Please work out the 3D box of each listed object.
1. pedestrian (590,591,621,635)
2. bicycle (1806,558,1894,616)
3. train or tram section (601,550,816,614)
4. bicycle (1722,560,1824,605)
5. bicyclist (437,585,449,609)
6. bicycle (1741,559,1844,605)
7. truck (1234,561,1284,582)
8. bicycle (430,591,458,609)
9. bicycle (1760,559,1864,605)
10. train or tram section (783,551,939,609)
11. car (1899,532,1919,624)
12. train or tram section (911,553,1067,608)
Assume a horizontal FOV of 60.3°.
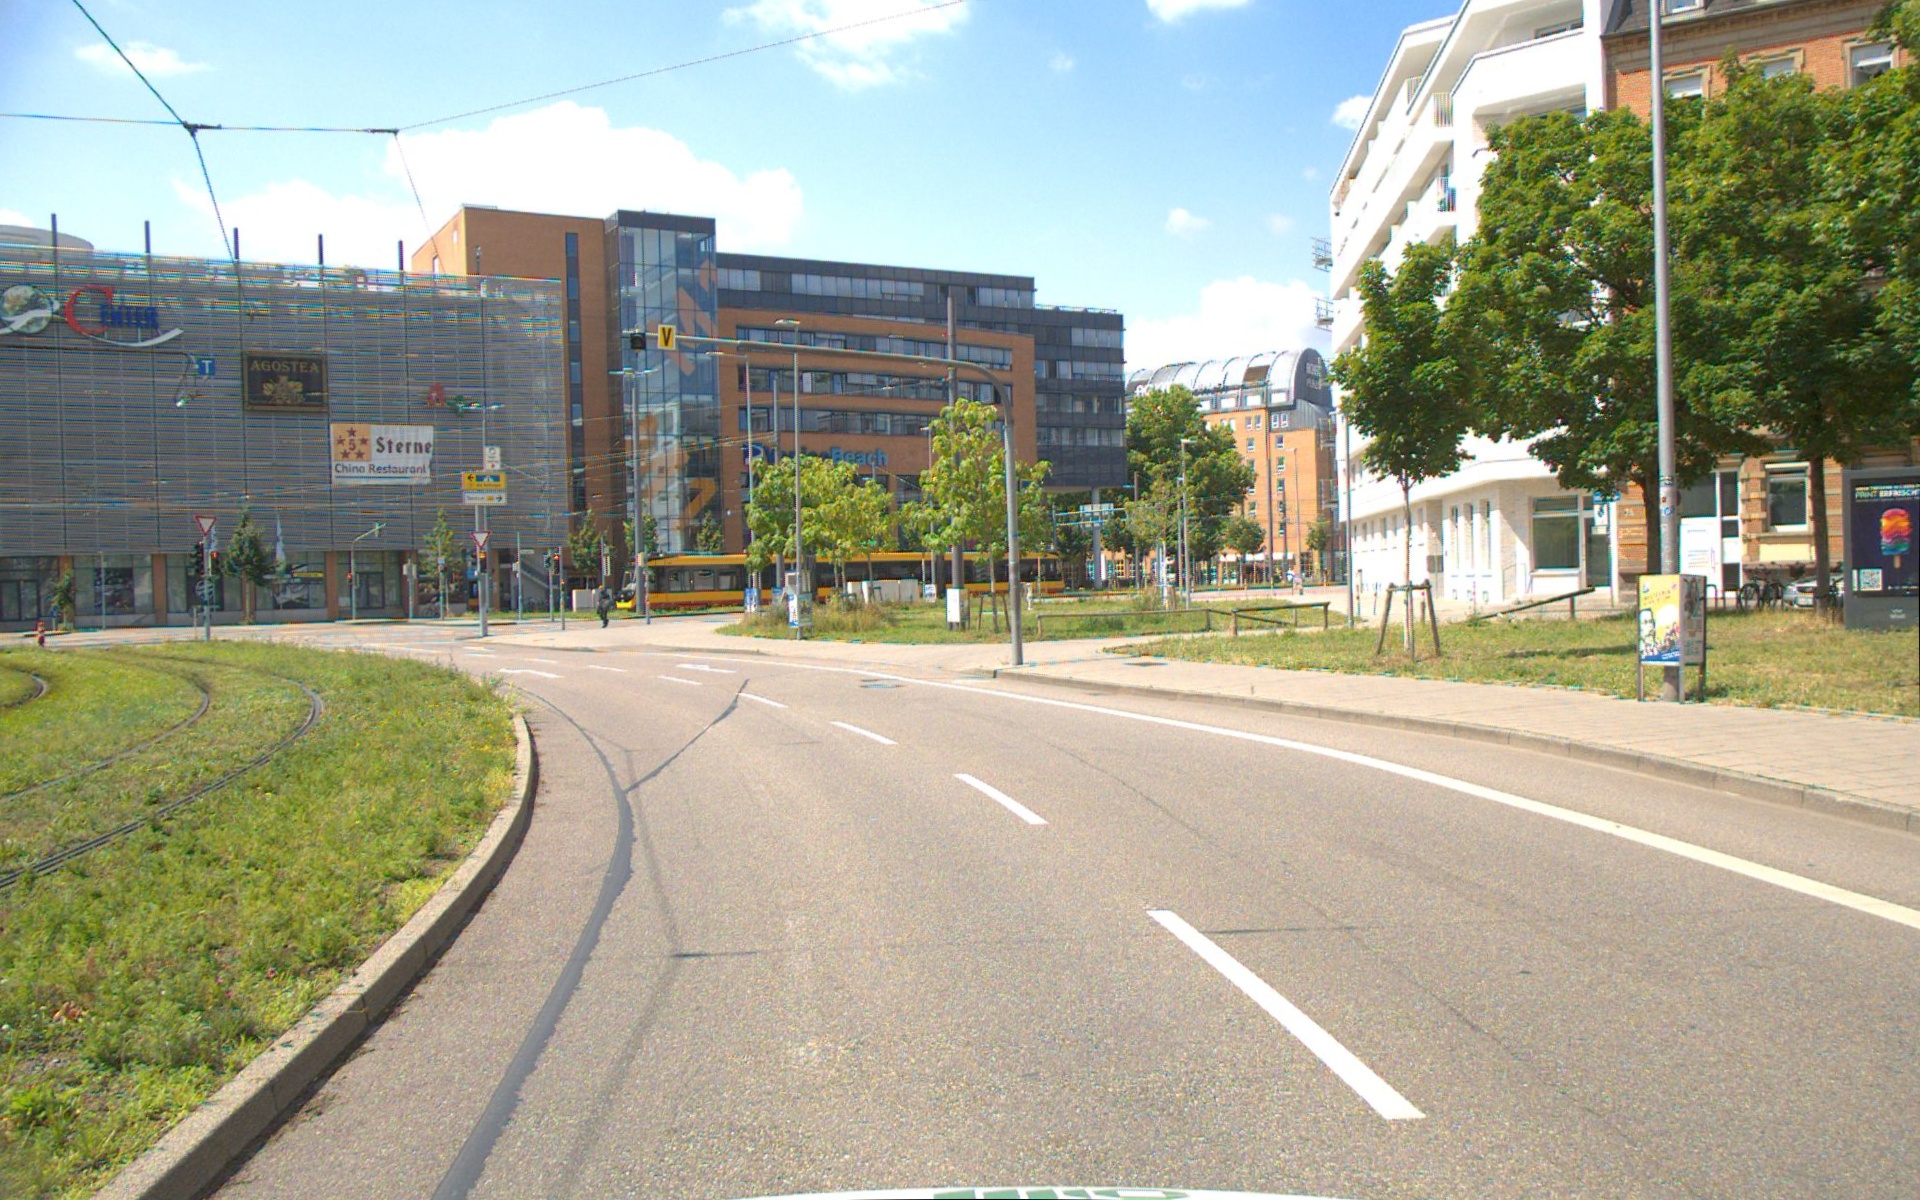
[{"bbox_3d":[-14.577,0.537,68.012,0.899,1.732,0.807,-2,1,31],"label":"pedestrian"},{"bbox_3d":[14.496,-0.211,26.979,0.531,0.917,1.822,-1,0,3],"label":"bicycle"},{"bbox_3d":[-15.118,-1.132,100.914,13.379,3.662,3.179,-1,0,-41],"label":"train or tram section"},{"bbox_3d":[18.420,-0.409,37.466,2.346,0.986,0.541,-1,0,-18],"label":"bicycle"},{"bbox_3d":[-35.068,-0.217,112.176,0.655,1.652,0.545,-1,0,-30],"label":"bicyclist"},{"bbox_3d":[18.591,-0.408,36.925,2.346,0.986,0.541,-1,0,-18],"label":"bicycle"},{"bbox_3d":[31.552,-2.999,174.677,1.978,2.122,5.454,-1,0,-35],"label":"truck"},{"bbox_3d":[-35.004,-0.009,112.209,1.742,1.245,0.578,-1,0,-30],"label":"bicycle"},{"bbox_3d":[18.744,-0.406,36.386,2.346,0.986,0.541,-1,0,-18],"label":"bicycle"},{"bbox_3d":[-6.392,-1.304,108.913,10.904,3.666,3.017,-1,0,-43],"label":"train or tram section"},{"bbox_3d":[17.289,-0.423,26.466,4.189,1.452,1.793,-2,1,-23],"label":"car"},{"bbox_3d":[2.190,-1.398,117.202,12.535,3.684,3.017,-1,0,-43],"label":"train or tram section"}]
